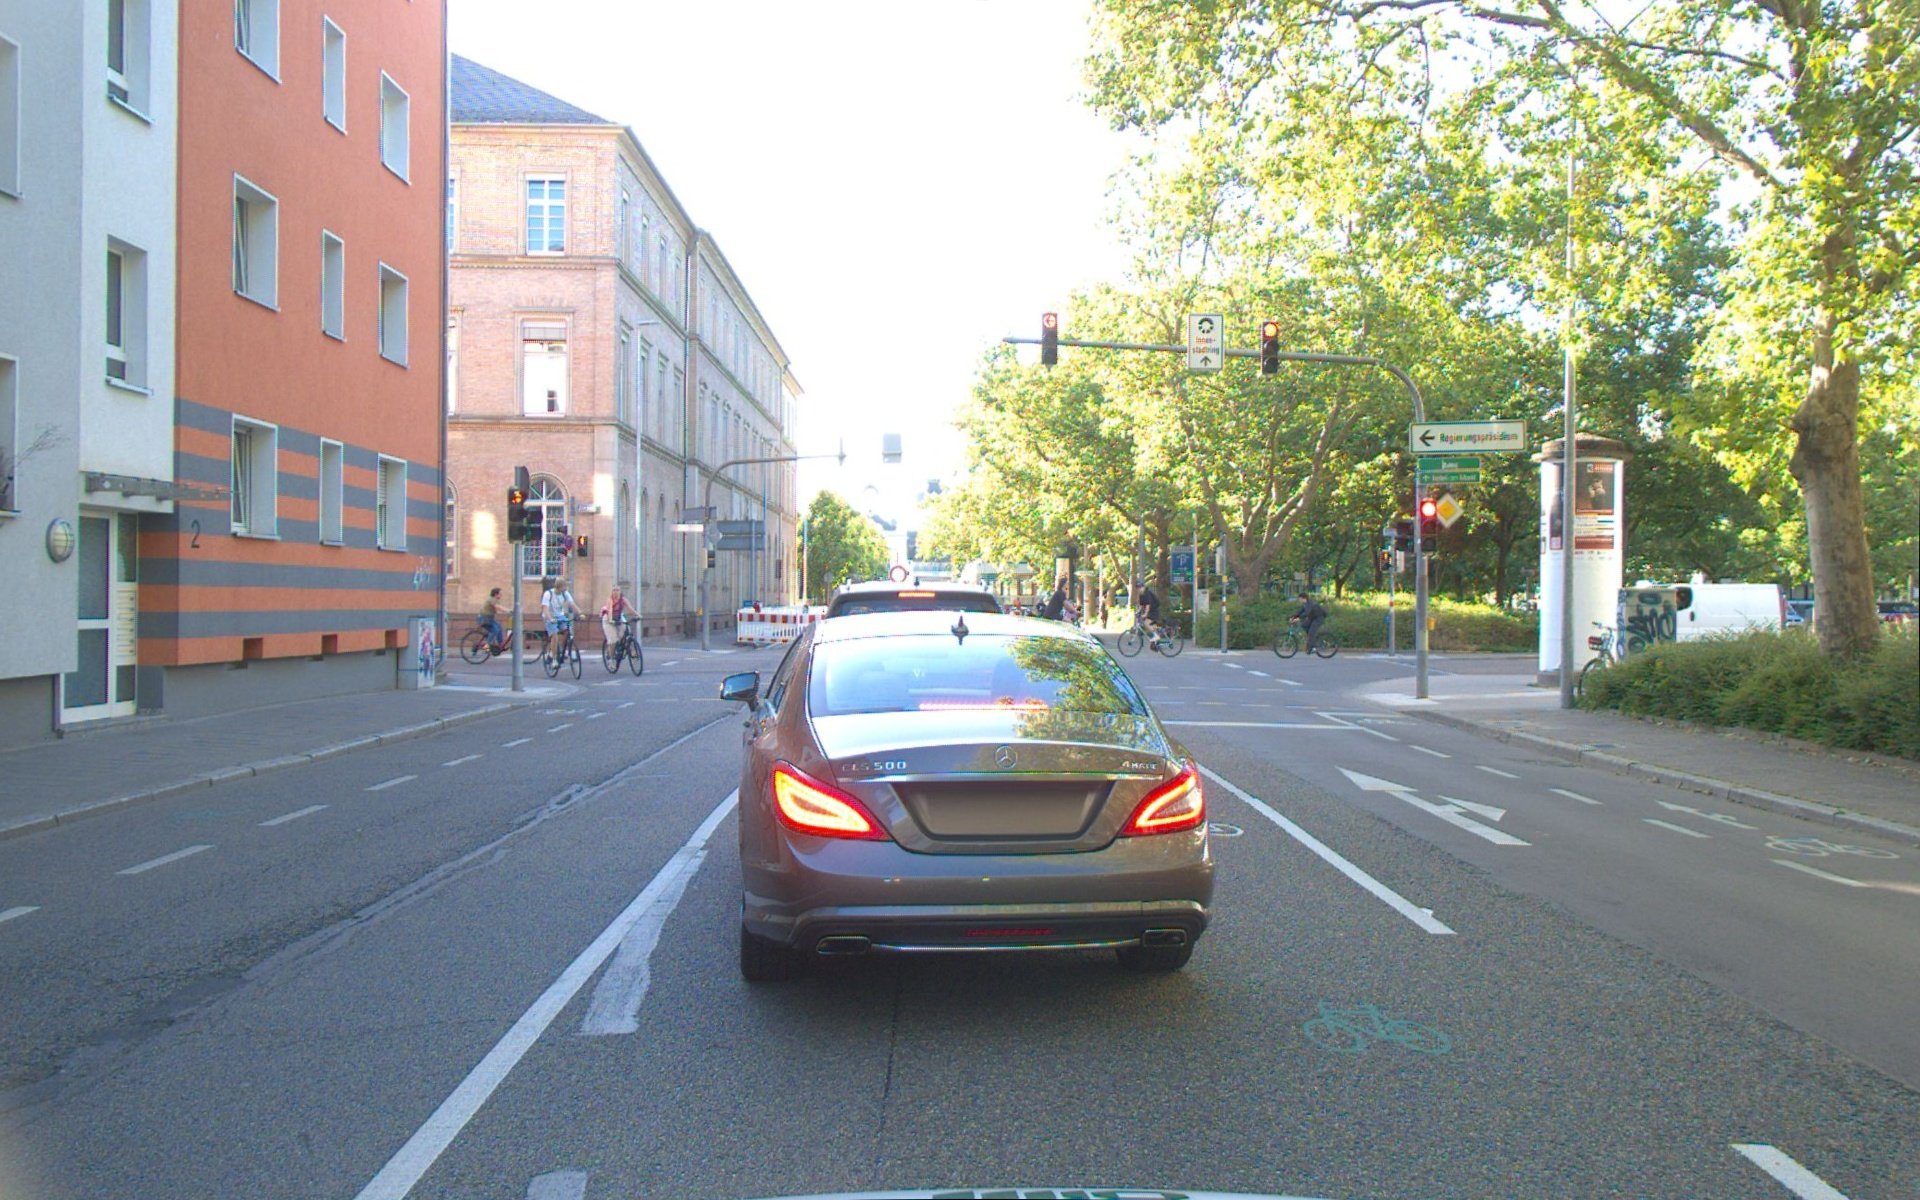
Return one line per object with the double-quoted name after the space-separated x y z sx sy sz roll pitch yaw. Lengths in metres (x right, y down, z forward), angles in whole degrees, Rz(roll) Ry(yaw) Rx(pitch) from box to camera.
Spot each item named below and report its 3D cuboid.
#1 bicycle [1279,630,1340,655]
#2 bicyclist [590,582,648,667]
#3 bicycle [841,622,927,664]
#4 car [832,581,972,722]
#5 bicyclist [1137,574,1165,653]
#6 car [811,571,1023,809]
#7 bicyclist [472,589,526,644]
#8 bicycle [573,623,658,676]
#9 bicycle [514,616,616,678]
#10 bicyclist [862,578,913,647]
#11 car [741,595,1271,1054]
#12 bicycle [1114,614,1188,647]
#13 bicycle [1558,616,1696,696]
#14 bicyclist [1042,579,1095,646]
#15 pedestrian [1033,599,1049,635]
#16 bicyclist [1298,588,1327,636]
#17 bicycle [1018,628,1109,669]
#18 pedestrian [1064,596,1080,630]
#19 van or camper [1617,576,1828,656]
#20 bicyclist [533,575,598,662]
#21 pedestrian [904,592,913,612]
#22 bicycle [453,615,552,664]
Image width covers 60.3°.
9.358 1.138 44.321 1.554 0.646 0.496 0 0 3 "bicycle"
-6.572 0.457 31.863 0.965 1.605 0.682 0 0 44 "bicyclist"
-1.703 0.960 37.060 1.853 0.898 0.726 0 0 3 "bicycle"
-0.776 0.653 23.223 1.783 1.793 3.999 0 0 -1 "car"
4.983 0.340 43.121 0.640 2.049 0.439 0 0 -9 "bicyclist"
-0.397 0.639 13.688 1.487 1.675 3.878 1 0 -3 "car"
-9.967 0.355 35.757 0.971 1.174 0.620 0 0 1 "bicyclist"
-6.665 0.939 31.931 1.831 0.945 0.691 0 0 43 "bicycle"
-7.375 0.868 30.872 1.798 1.097 0.863 0 0 33 "bicycle"
-1.615 0.276 37.052 1.052 1.546 0.717 0 0 4 "bicyclist"
-0.109 0.727 7.653 1.769 1.482 4.343 0 0 -8 "car"
4.976 0.786 43.108 1.856 0.851 0.457 0 0 -9 "bicycle"
9.579 0.800 23.781 1.766 1.116 0.510 0 0 2 "bicycle"
2.321 0.269 35.577 1.081 1.427 0.657 0 0 -1 "bicyclist"
3.522 0.732 71.800 0.635 1.529 0.637 0 0 -1 "pedestrian"
9.437 0.318 44.305 0.689 1.282 0.458 0 0 3 "bicyclist"
2.221 1.043 35.571 1.933 0.851 0.677 0 0 1 "bicycle"
4.819 0.555 71.278 0.635 1.458 0.659 0 0 -1 "pedestrian"
19.452 0.398 42.321 4.487 1.975 1.999 0 0 -3 "van or camper"
-7.356 0.337 30.868 0.821 1.582 0.843 0 0 32 "bicyclist"
-4.302 0.166 138.530 0.785 1.604 0.844 0 0 -1 "pedestrian"
-9.873 0.848 35.749 1.939 1.045 0.652 0 0 1 "bicycle"
